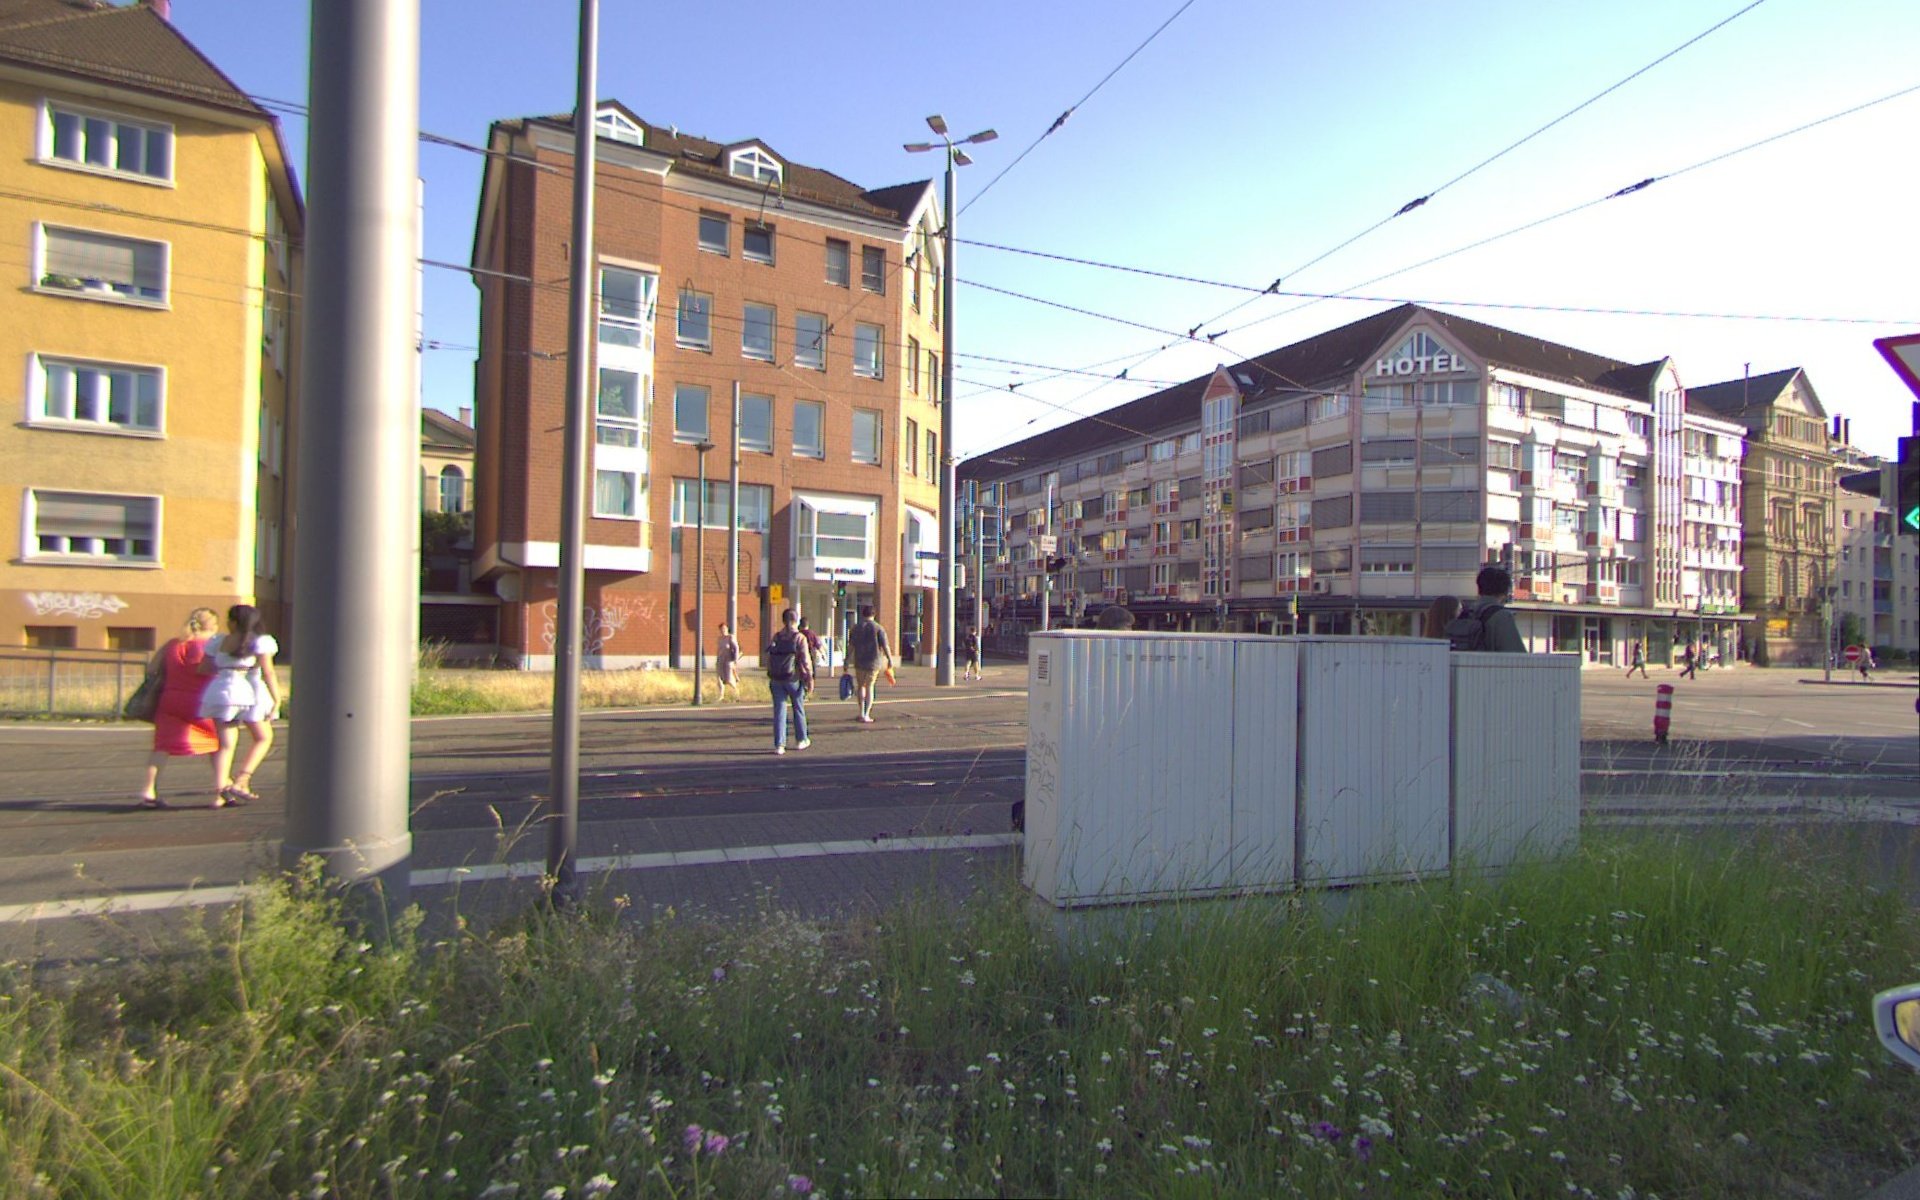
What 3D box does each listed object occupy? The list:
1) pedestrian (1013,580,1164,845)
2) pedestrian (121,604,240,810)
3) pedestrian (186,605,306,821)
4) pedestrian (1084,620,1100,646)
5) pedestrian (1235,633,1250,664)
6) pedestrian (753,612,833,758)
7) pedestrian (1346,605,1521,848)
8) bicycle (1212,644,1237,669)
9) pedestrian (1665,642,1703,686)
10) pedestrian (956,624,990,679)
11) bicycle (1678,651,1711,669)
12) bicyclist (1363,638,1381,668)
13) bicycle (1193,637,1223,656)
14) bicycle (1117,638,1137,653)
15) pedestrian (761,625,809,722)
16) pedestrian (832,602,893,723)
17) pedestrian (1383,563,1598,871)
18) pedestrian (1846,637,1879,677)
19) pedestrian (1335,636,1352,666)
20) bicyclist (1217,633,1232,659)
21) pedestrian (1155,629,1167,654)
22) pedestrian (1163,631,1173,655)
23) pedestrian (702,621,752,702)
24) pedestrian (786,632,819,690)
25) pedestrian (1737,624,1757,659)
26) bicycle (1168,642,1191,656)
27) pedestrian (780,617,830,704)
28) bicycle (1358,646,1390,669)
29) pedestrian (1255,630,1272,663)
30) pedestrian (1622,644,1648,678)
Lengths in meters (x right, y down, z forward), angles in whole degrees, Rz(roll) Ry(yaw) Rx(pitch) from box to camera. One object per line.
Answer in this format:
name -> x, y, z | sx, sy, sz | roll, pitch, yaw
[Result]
pedestrian -> 0.859, 0.715, 6.805 | 0.612, 1.662, 0.781 | 2, 0, -32
pedestrian -> -5.871, 0.772, 7.568 | 0.628, 1.451, 0.523 | 2, 0, 36
pedestrian -> -5.225, 0.792, 7.351 | 0.628, 1.475, 0.522 | 2, 0, 39
pedestrian -> 8.834, 2.212, 67.088 | 0.773, 1.682, 0.677 | 2, 0, -35
pedestrian -> 15.844, 2.724, 56.322 | 0.612, 1.717, 0.866 | 2, 0, 29
pedestrian -> -1.888, 0.932, 11.327 | 0.612, 1.556, 0.782 | 2, 0, -30
pedestrian -> 3.454, 0.885, 7.398 | 0.882, 1.662, 0.788 | 2, 0, 2
bicycle -> 16.028, 3.426, 60.895 | 0.574, 1.385, 2.090 | 0, 0, -12
pedestrian -> 33.175, 2.927, 46.042 | 0.847, 1.909, 1.187 | -2, 2, -34
pedestrian -> 0.440, 1.701, 33.325 | 0.824, 1.781, 0.687 | 2, 0, -43
bicycle -> 46.944, 3.853, 64.203 | 2.056, 1.085, 0.451 | 2, 0, -13
bicyclist -> 22.467, 2.884, 54.801 | 0.649, 1.618, 0.637 | -1, 1, -26
bicycle -> 16.925, 3.190, 68.578 | 0.720, 1.243, 2.319 | 2, -2, -23
bicycle -> 13.116, 3.557, 78.840 | 1.630, 1.134, 0.480 | 2, 0, -30
pedestrian -> -2.626, 1.094, 15.126 | 0.585, 1.378, 0.607 | 4, 0, -6
pedestrian -> -1.490, 0.934, 15.483 | 0.761, 1.781, 0.900 | 2, 0, 2
pedestrian -> 3.398, 0.721, 6.525 | 0.882, 1.824, 0.788 | -5, 0, 8
pedestrian -> 35.808, 2.266, 39.841 | 0.841, 1.483, 0.685 | 2, -5, 32
pedestrian -> 21.423, 2.857, 56.128 | 0.705, 1.684, 0.631 | 0, -2, 37
bicyclist -> 16.026, 2.772, 60.892 | 0.556, 1.501, 0.736 | 0, 0, -12
pedestrian -> 15.093, 3.127, 75.413 | 0.601, 1.877, 0.601 | 2, 0, -20
pedestrian -> 15.100, 3.125, 72.881 | 0.598, 1.657, 0.604 | 2, 0, 16
pedestrian -> -4.777, 1.252, 20.628 | 0.825, 1.605, 0.683 | 2, 0, -3
pedestrian -> -4.520, 1.746, 28.813 | 0.828, 1.605, 0.681 | 2, 0, -15
pedestrian -> 56.366, 2.988, 71.927 | 0.953, 2.430, 0.918 | 2, 0, -40
bicycle -> 15.560, 3.481, 71.264 | 0.494, 0.929, 2.067 | 2, -2, -23
pedestrian -> -2.983, 1.146, 19.349 | 0.596, 1.609, 0.788 | 2, 0, 20
bicycle -> 22.602, 3.113, 54.879 | 1.746, 1.160, 0.636 | -1, 1, -26
pedestrian -> 16.642, 2.533, 55.101 | 0.503, 1.787, 1.001 | 2, 0, 41
pedestrian -> 30.621, 2.777, 45.579 | 0.847, 1.472, 0.700 | 2, 0, -34
